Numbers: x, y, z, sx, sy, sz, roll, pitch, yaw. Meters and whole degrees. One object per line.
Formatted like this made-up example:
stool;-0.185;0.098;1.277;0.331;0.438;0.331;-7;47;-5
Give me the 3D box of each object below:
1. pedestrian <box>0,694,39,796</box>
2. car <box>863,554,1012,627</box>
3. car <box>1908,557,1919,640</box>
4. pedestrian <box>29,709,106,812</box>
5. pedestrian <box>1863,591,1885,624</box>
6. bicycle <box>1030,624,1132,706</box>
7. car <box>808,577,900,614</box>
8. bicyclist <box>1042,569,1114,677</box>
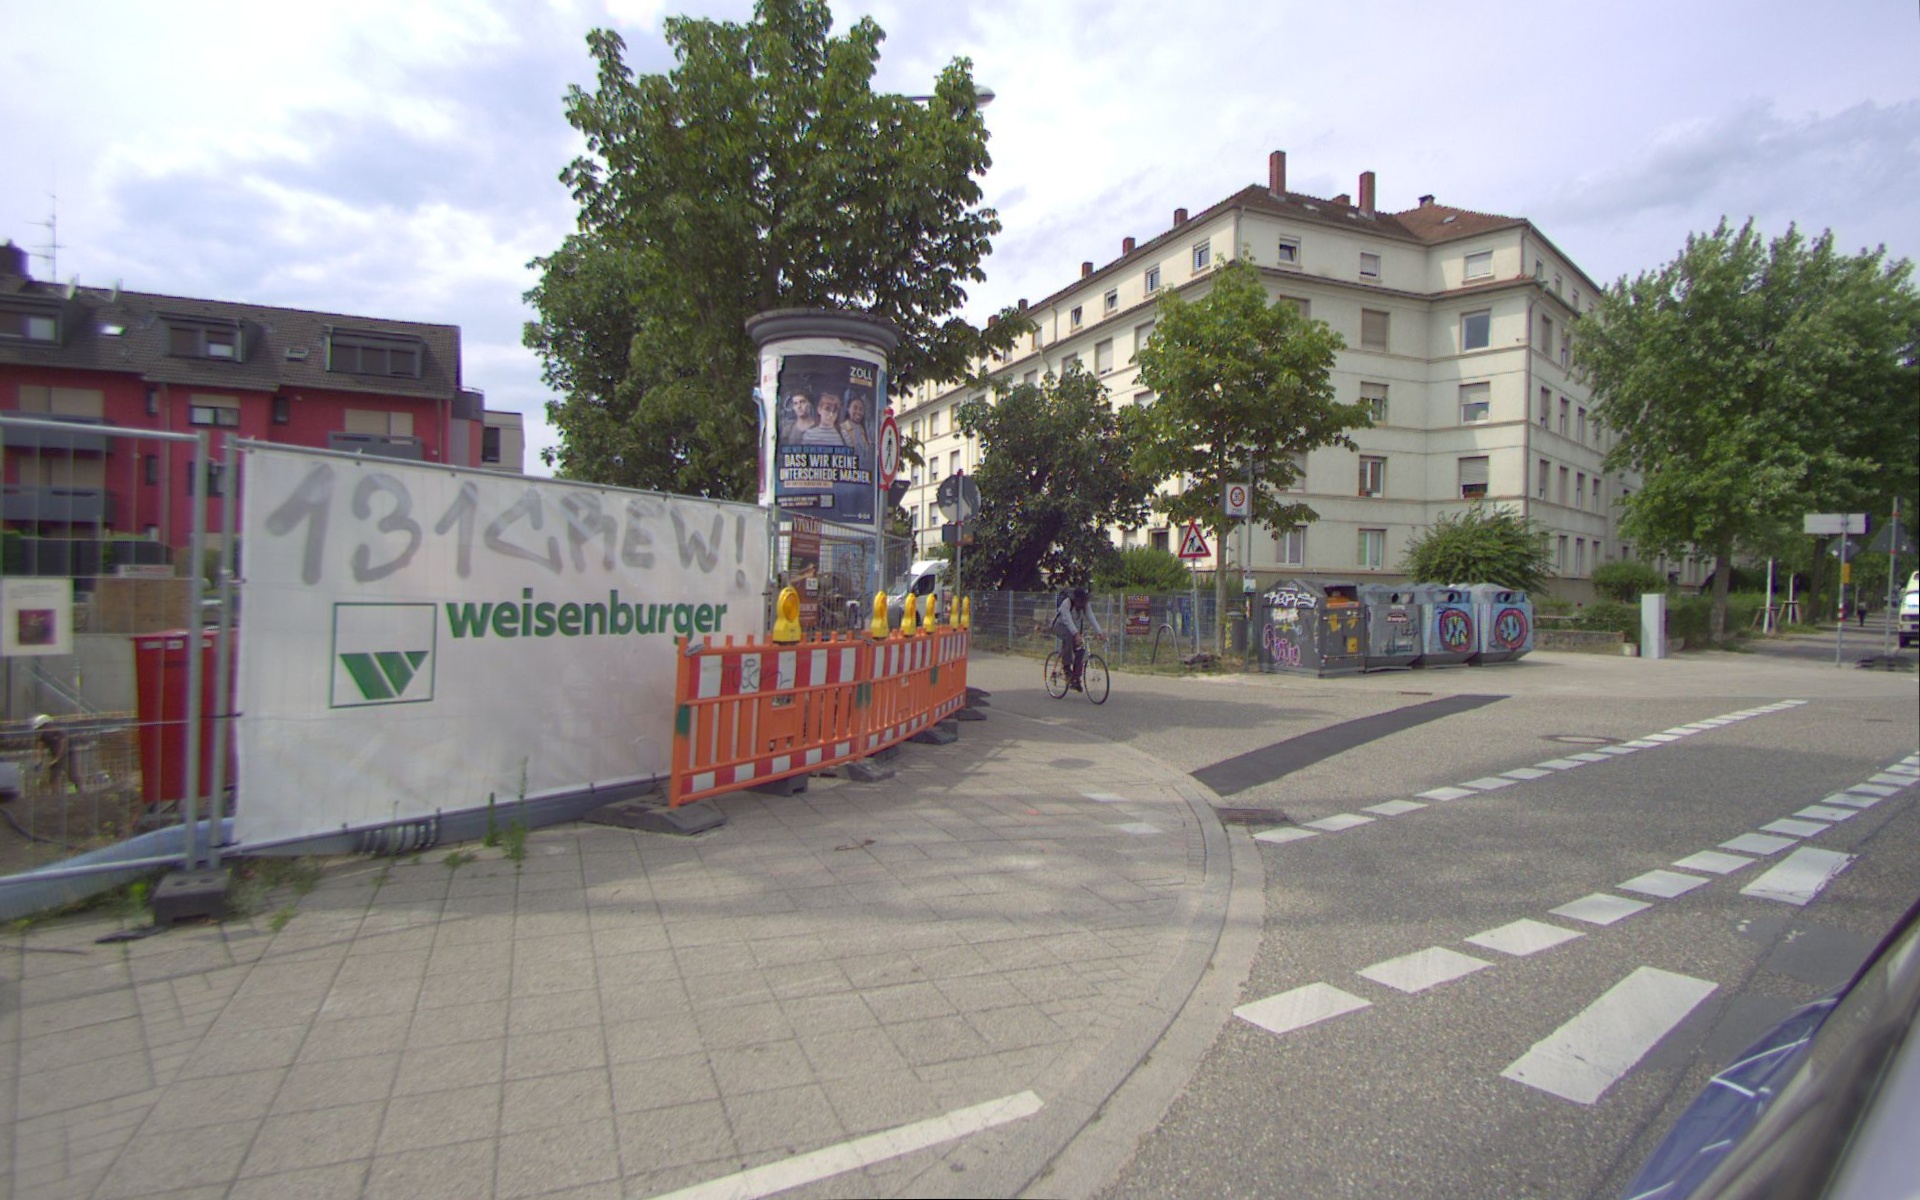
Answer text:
pedestrian;-17.888;2.678;18.851;0.706;1.743;0.846;1;2;-4
car;-0.807;-0.362;36.645;5.000;2.485;1.905;-1;-1;-21
car;32.532;-0.105;33.179;1.895;2.635;4.826;-3;-1;45
pedestrian;-16.542;2.956;18.781;0.706;1.743;0.846;1;2;-4
pedestrian;51.761;0.437;57.304;0.751;1.826;0.807;-1;3;-45
bicycle;1.608;0.848;13.920;0.700;0.945;2.483;1;0;-10
car;-4.935;-0.201;47.044;3.837;1.609;1.803;-1;-1;-21
bicyclist;1.613;0.322;13.988;0.700;1.431;1.082;1;-2;-9
